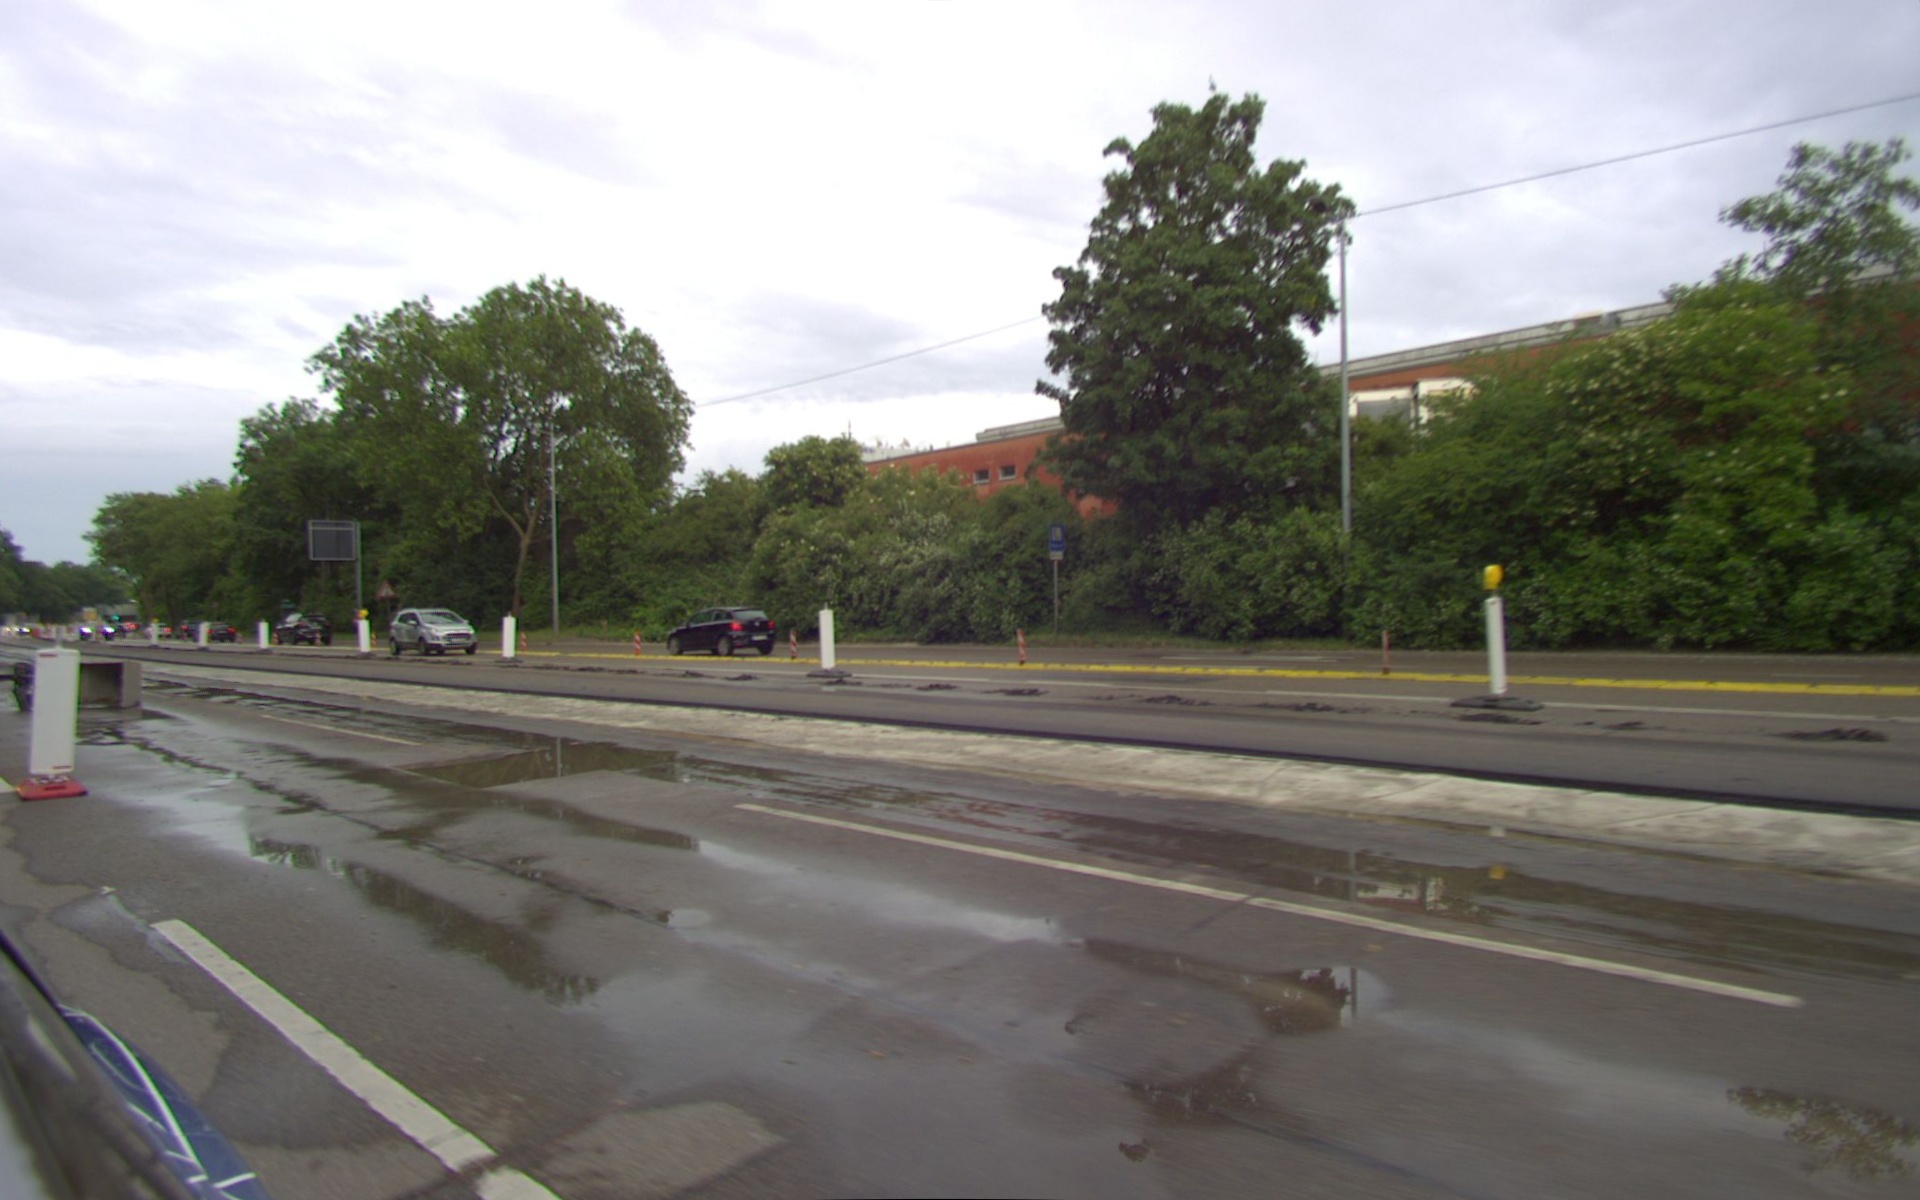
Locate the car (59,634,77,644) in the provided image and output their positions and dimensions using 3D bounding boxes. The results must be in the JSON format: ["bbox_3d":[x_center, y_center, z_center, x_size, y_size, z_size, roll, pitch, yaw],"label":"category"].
[{"bbox_3d":[-155.636,6.835,176.491,4.914,1.676,1.757,-2,-3,42],"label":"car"}]

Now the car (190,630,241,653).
[{"bbox_3d":[-51.271,2.874,69.673,4.897,1.495,1.742,-2,-1,41],"label":"car"}]

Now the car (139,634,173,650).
[{"bbox_3d":[-80.060,4.165,100.740,4.600,1.430,1.799,-2,-1,41],"label":"car"}]

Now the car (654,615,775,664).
[{"bbox_3d":[-7.303,1.169,29.969,3.856,1.342,1.434,-2,-1,39],"label":"car"}]

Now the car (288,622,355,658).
[{"bbox_3d":[-33.466,2.077,52.975,4.491,1.735,1.717,-2,-1,41],"label":"car"}]

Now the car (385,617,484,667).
[{"bbox_3d":[-18.149,1.416,34.869,3.859,1.596,1.770,-2,-1,42],"label":"car"}]

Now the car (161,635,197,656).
[{"bbox_3d":[-67.557,3.953,87.545,4.531,1.698,1.636,-2,-1,41],"label":"car"}]

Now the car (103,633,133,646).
[{"bbox_3d":[-89.279,4.165,107.251,4.202,1.366,1.799,-2,-3,41],"label":"car"}]
